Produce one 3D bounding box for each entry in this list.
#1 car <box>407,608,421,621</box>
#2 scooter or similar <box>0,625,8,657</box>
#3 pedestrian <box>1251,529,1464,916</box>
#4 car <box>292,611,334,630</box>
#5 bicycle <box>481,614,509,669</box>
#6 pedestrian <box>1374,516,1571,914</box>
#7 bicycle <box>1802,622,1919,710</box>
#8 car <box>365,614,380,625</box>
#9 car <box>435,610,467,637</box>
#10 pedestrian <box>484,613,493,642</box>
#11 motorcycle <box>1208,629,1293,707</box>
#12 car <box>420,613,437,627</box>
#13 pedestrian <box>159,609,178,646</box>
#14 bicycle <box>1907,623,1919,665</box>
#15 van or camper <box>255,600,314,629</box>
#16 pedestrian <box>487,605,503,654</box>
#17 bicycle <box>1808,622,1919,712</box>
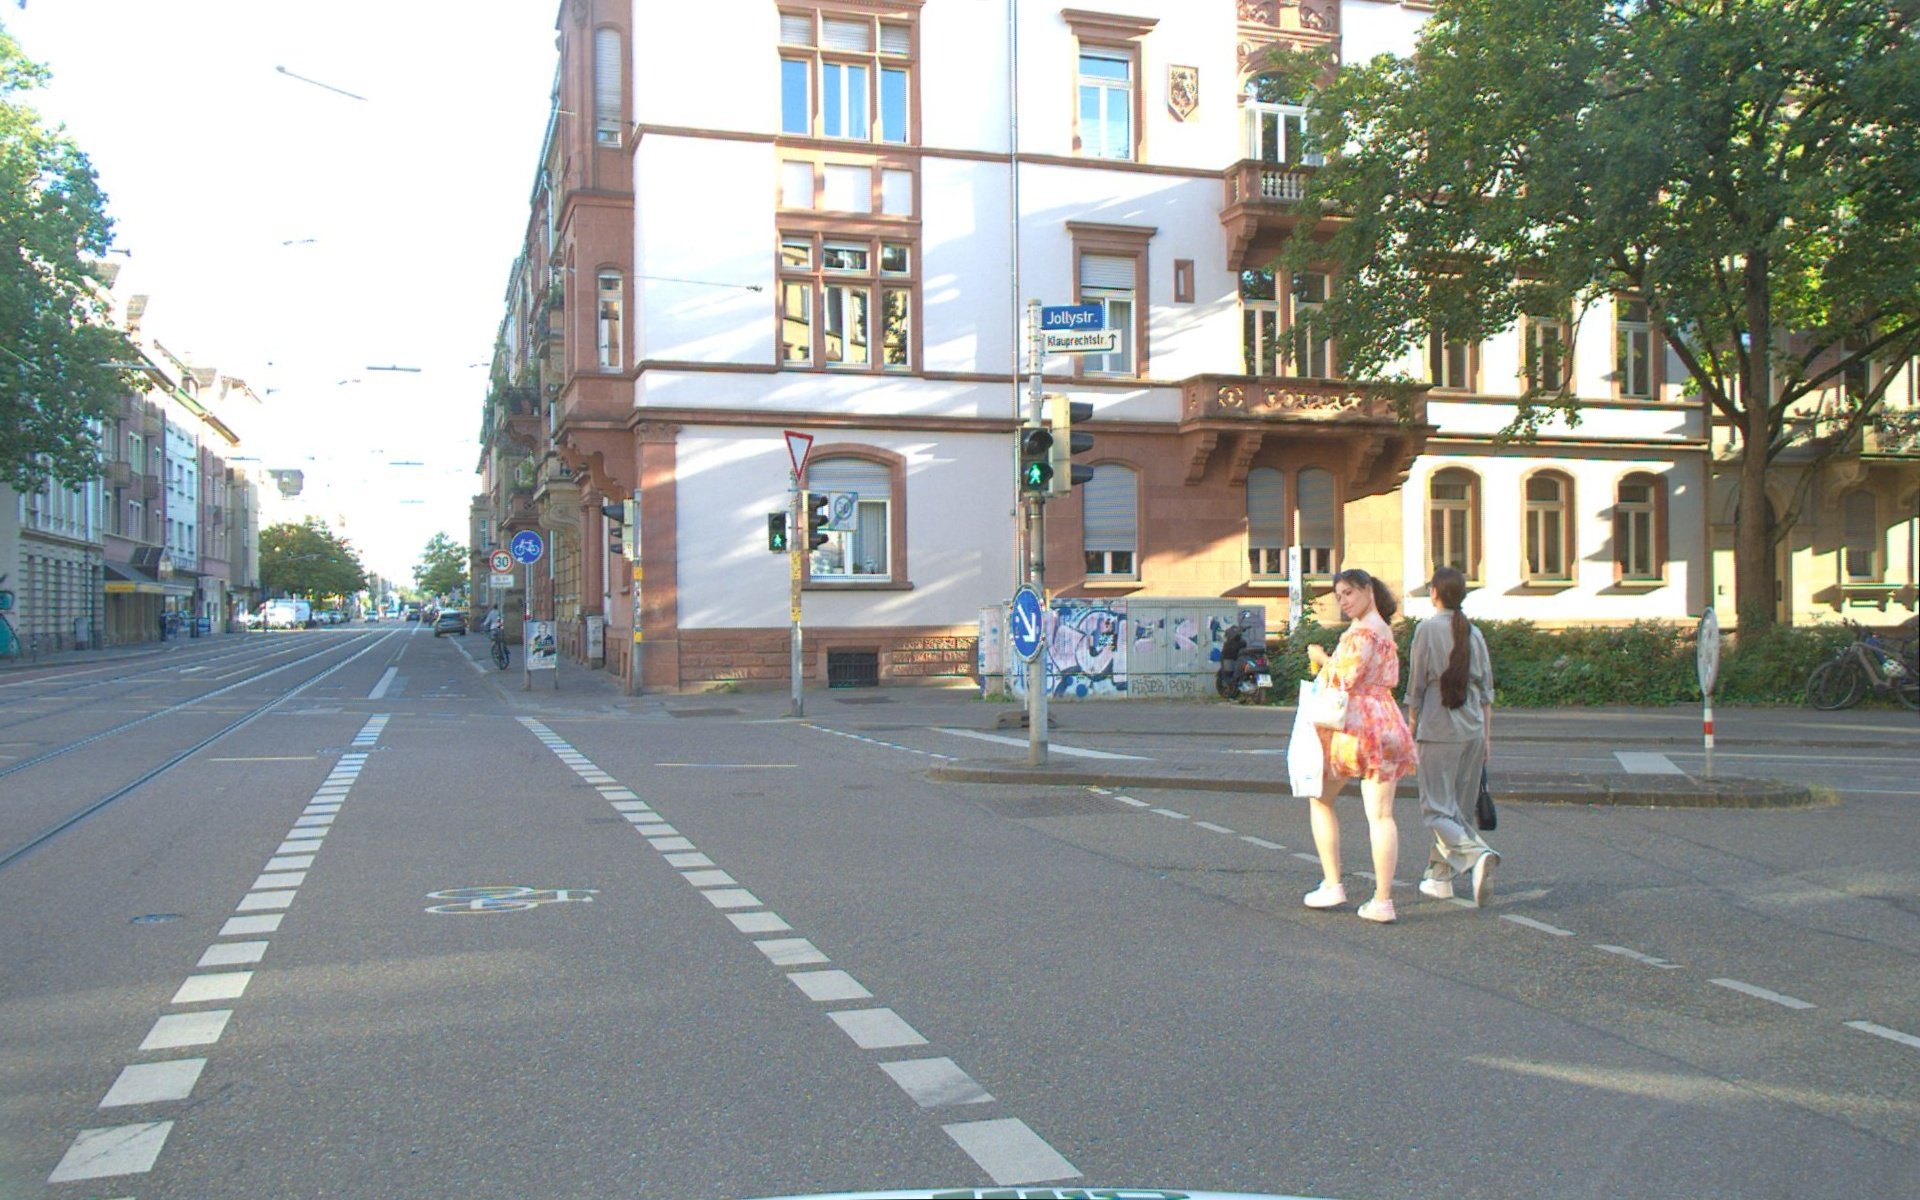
[{"bbox_3d":[-78.482,2.074,237.749,1.963,1.758,3.979,0,-1,-18],"label":"car"},{"bbox_3d":[-32.831,1.384,56.248,0.509,1.076,1.470,0,0,-20],"label":"scooter or similar"},{"bbox_3d":[1.982,0.591,8.344,0.789,1.831,0.761,3,0,-3],"label":"pedestrian"},{"bbox_3d":[-71.959,2.304,183.873,3.968,2.049,1.969,0,-1,-43],"label":"car"},{"bbox_3d":[-11.730,1.018,41.747,0.642,1.347,2.167,0,0,-15],"label":"bicycle"},{"bbox_3d":[2.615,0.564,8.493,0.678,1.942,0.668,-1,-2,-12],"label":"pedestrian"},{"bbox_3d":[12.860,0.917,23.168,1.820,1.182,0.560,-1,1,20],"label":"bicycle"},{"bbox_3d":[-77.763,2.610,218.934,1.791,1.467,3.979,0,-1,-18],"label":"car"},{"bbox_3d":[-33.003,1.503,107.392,1.919,1.713,3.981,0,0,-17],"label":"car"},{"bbox_3d":[-29.995,1.761,105.174,0.536,1.811,0.746,0,-1,-17],"label":"pedestrian"},{"bbox_3d":[4.508,1.028,25.806,0.705,1.037,2.284,-1,2,-6],"label":"motorcycle"},{"bbox_3d":[-65.067,2.451,202.535,1.963,1.758,3.979,0,-1,-18],"label":"car"},{"bbox_3d":[-37.797,1.290,78.981,0.690,1.759,0.644,0,-1,-18],"label":"pedestrian"},{"bbox_3d":[20.884,0.934,34.832,0.483,0.909,1.790,0,0,-15],"label":"bicycle"},{"bbox_3d":[-61.433,1.326,150.554,1.964,2.608,4.623,-1,-1,41],"label":"van or camper"},{"bbox_3d":[-17.395,1.086,61.864,0.536,1.811,0.501,0,-1,-17],"label":"pedestrian"},{"bbox_3d":[12.652,0.909,22.603,1.820,1.182,0.560,-1,1,20],"label":"bicycle"}]
